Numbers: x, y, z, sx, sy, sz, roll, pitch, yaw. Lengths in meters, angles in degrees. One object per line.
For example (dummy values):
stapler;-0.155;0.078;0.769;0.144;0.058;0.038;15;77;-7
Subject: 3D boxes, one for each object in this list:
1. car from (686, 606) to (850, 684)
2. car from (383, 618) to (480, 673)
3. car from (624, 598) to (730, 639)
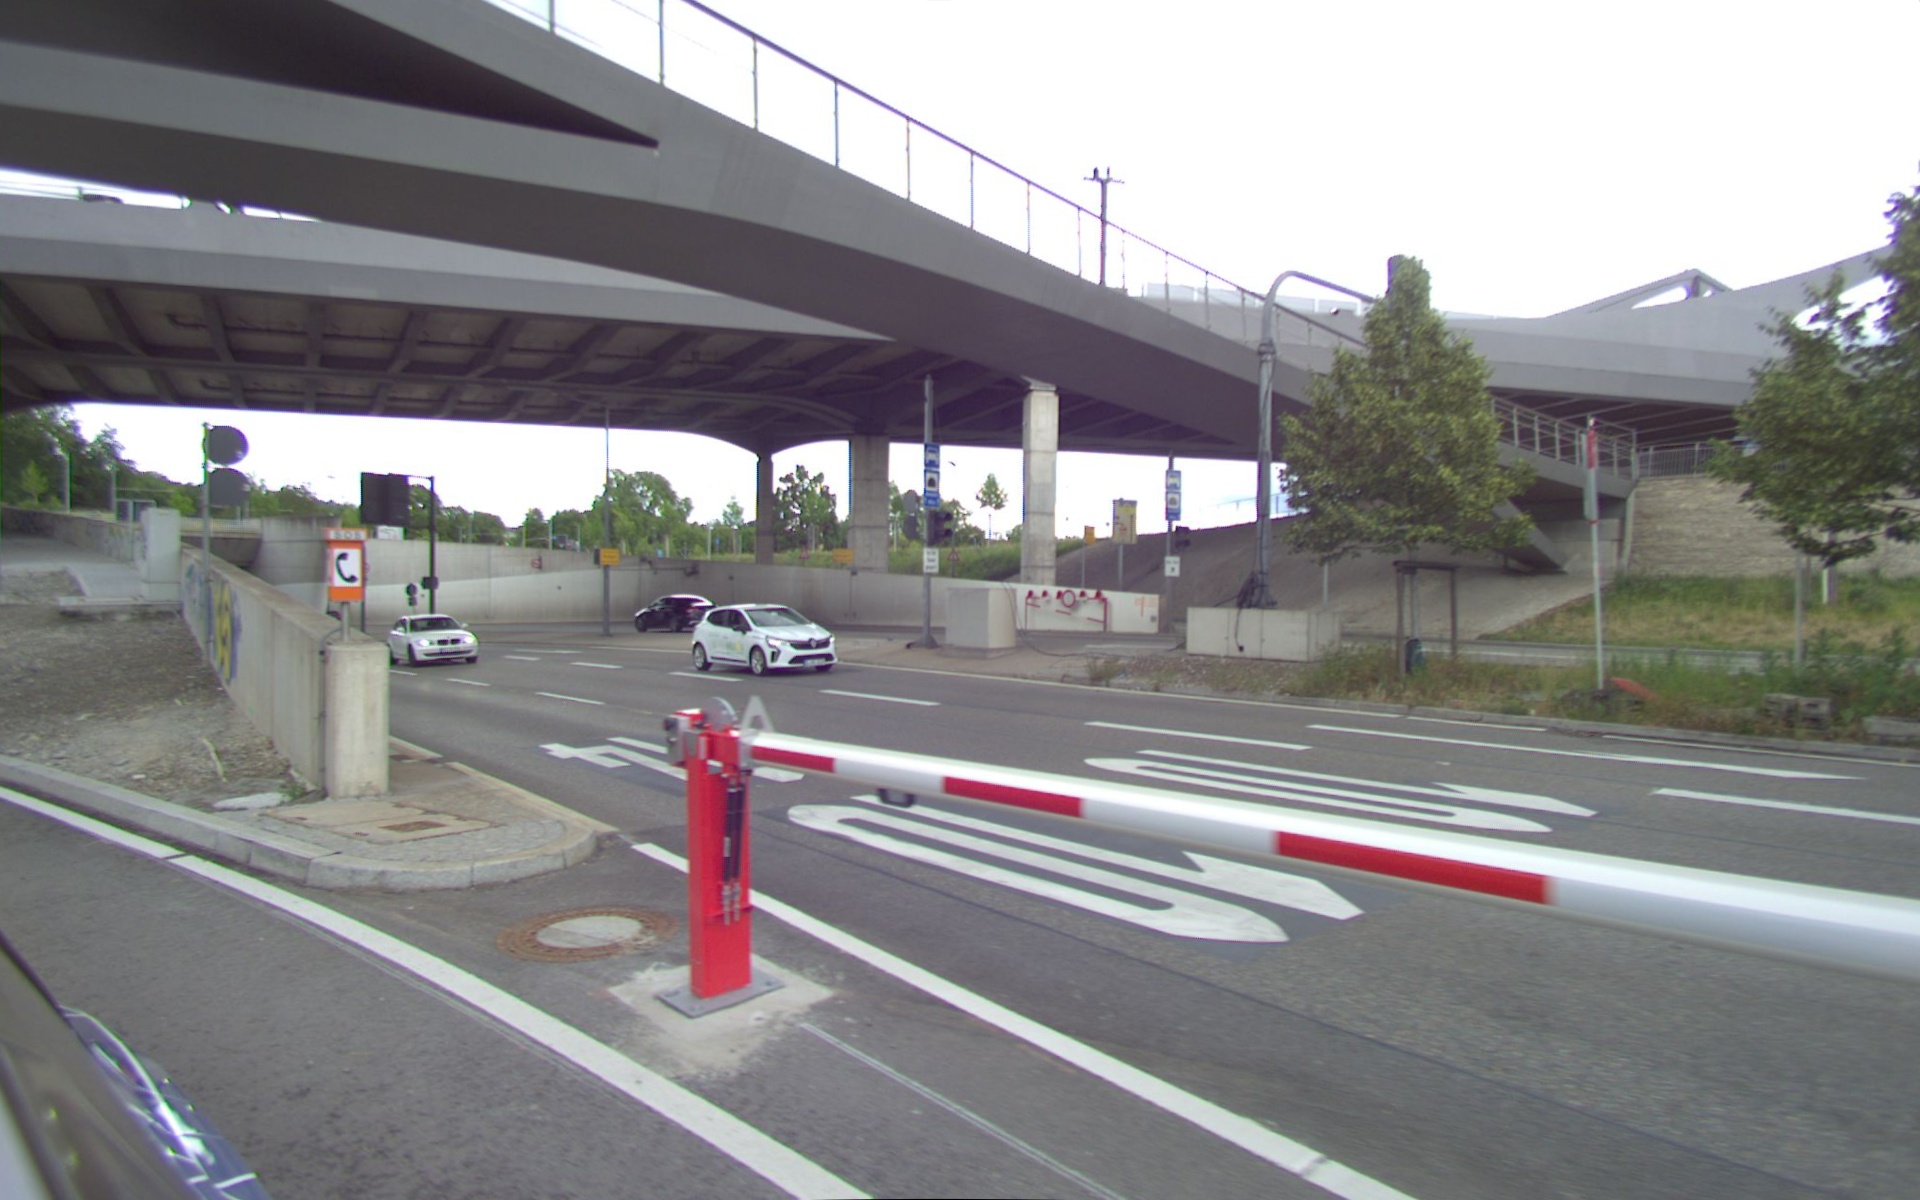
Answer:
car;-4.190;0.890;21.671;1.557;1.495;4.002;-1;0;-43
car;-15.489;1.281;29.563;1.618;1.444;3.988;-1;-1;-41
car;-11.053;0.685;39.334;4.613;1.489;1.770;0;0;41
